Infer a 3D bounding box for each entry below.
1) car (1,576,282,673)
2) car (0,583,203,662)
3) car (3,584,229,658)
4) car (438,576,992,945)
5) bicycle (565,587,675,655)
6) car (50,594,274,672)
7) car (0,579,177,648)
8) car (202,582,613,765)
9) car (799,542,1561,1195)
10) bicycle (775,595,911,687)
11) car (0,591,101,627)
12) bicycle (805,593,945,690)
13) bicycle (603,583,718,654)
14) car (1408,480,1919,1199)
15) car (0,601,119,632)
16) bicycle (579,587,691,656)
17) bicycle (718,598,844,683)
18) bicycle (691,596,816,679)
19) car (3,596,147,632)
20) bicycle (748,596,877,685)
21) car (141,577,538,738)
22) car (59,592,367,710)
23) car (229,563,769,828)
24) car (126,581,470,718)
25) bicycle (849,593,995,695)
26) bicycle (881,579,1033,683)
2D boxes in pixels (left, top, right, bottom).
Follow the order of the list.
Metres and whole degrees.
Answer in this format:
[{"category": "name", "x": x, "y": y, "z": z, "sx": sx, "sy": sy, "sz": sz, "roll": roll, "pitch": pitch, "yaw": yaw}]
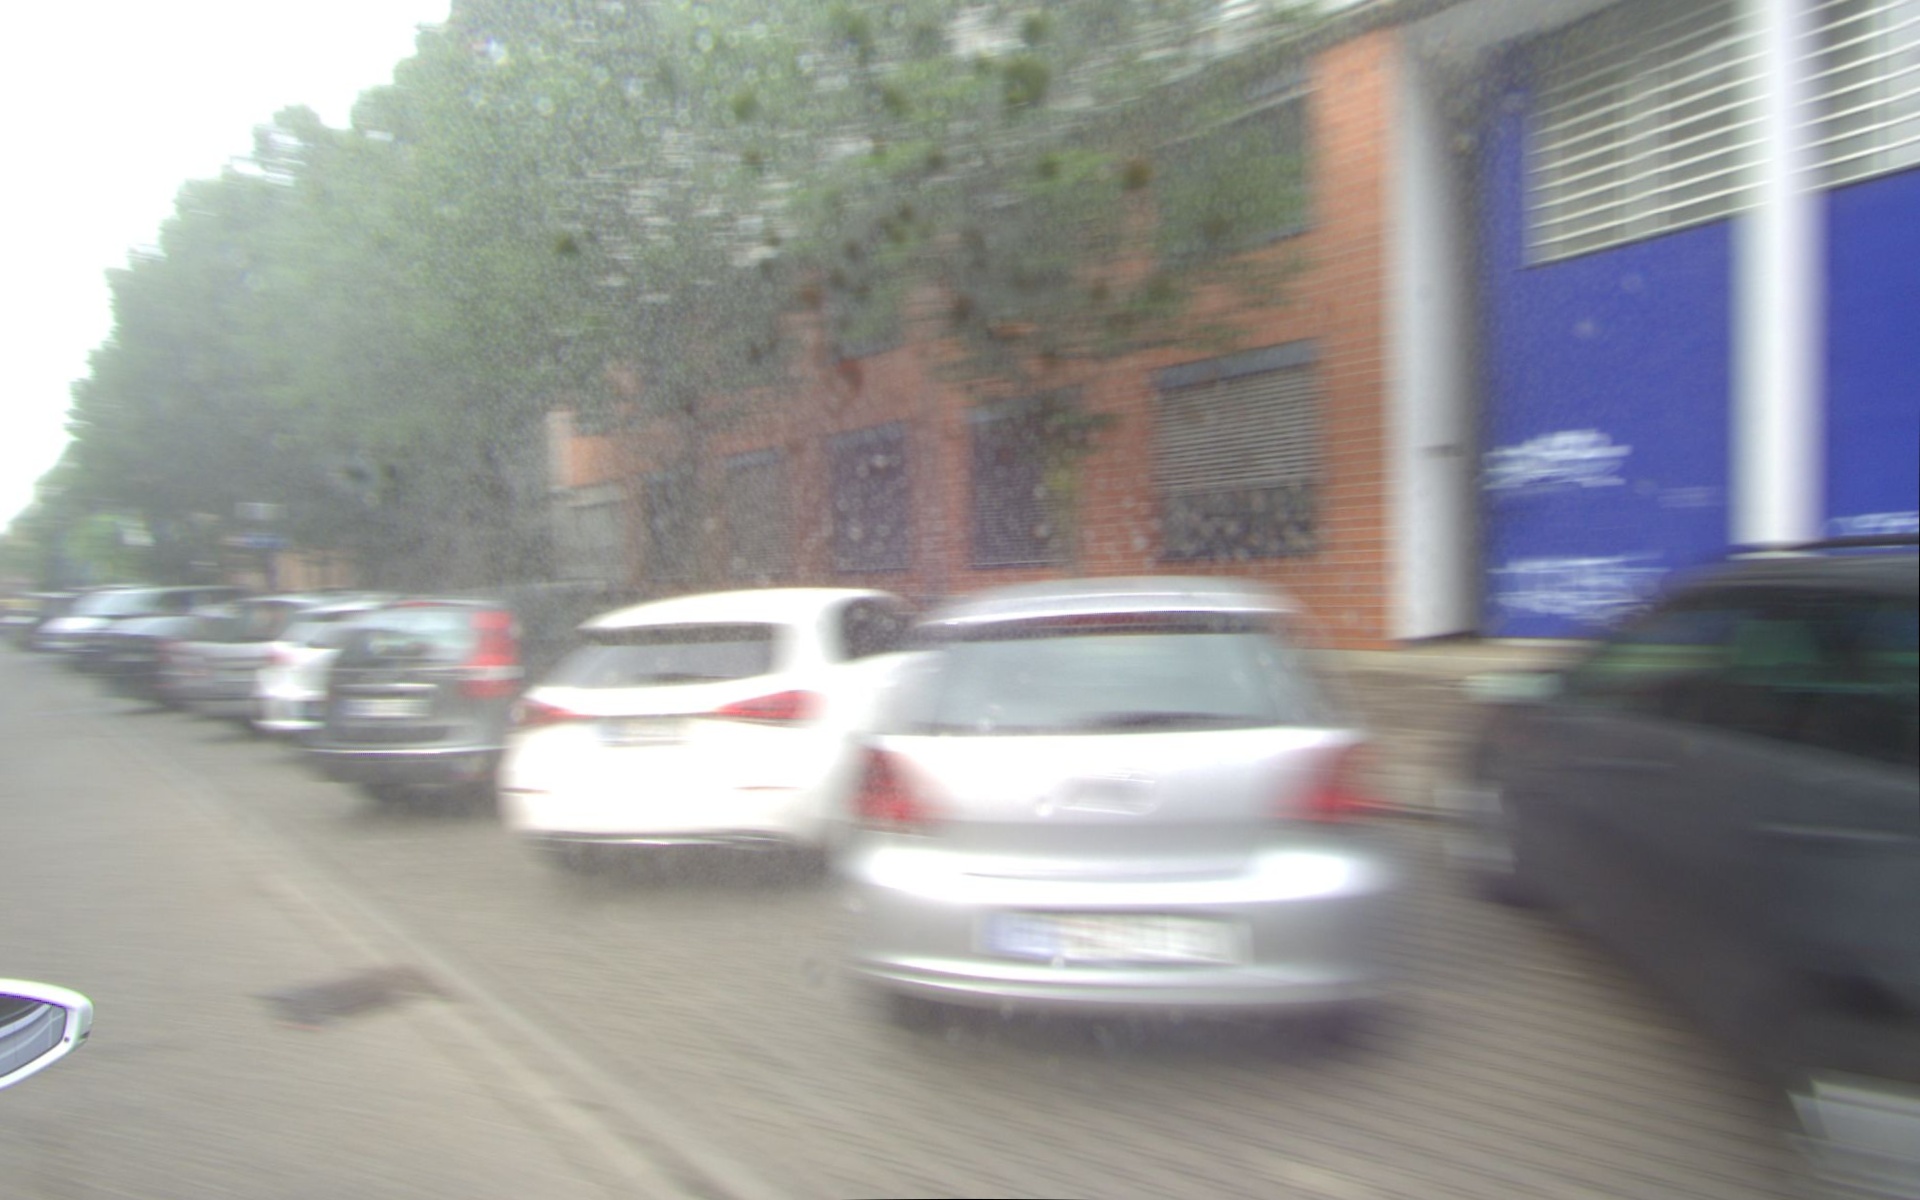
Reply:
[{"category": "car", "x": -20.823, "y": 0.510, "z": 25.921, "sx": 1.914, "sy": 2.156, "sz": 5.619, "roll": -2, "pitch": 1, "yaw": 10}, {"category": "car", "x": -24.052, "y": 0.558, "z": 28.186, "sx": 1.721, "sy": 2.041, "sz": 3.988, "roll": -1, "pitch": 1, "yaw": 23}, {"category": "car", "x": -26.378, "y": 0.568, "z": 31.632, "sx": 1.914, "sy": 2.019, "sz": 5.398, "roll": -2, "pitch": 1, "yaw": 10}, {"category": "car", "x": -1.087, "y": 0.703, "z": 6.396, "sx": 1.840, "sy": 1.564, "sz": 3.983, "roll": 0, "pitch": 0, "yaw": 13}, {"category": "bicycle", "x": -5.927, "y": 0.353, "z": 17.543, "sx": 0.559, "sy": 1.106, "sz": 1.742, "roll": -1, "pitch": 0, "yaw": 44}, {"category": "car", "x": -18.555, "y": 0.711, "z": 23.523, "sx": 1.738, "sy": 1.526, "sz": 3.859, "roll": -2, "pitch": 1, "yaw": 10}, {"category": "car", "x": -34.403, "y": 0.454, "z": 39.327, "sx": 1.918, "sy": 2.406, "sz": 5.385, "roll": -1, "pitch": 2, "yaw": 23}, {"category": "car", "x": -5.502, "y": 0.611, "z": 10.678, "sx": 1.650, "sy": 1.506, "sz": 4.056, "roll": -2, "pitch": 1, "yaw": 8}, {"category": "car", "x": 0.764, "y": 0.614, "z": 4.213, "sx": 1.810, "sy": 1.519, "sz": 3.564, "roll": -1, "pitch": 1, "yaw": 9}, {"category": "bicycle", "x": -1.510, "y": 0.507, "z": 13.188, "sx": 0.559, "sy": 1.106, "sz": 1.825, "roll": -1, "pitch": 0, "yaw": 44}, {"category": "car", "x": -54.312, "y": 0.499, "z": 59.000, "sx": 1.915, "sy": 1.893, "sz": 5.395, "roll": -2, "pitch": 2, "yaw": 15}, {"category": "bicycle", "x": -1.031, "y": 0.490, "z": 12.550, "sx": 0.537, "sy": 1.106, "sz": 1.825, "roll": -1, "pitch": 0, "yaw": 44}, {"category": "bicycle", "x": -4.933, "y": 0.286, "z": 16.587, "sx": 0.559, "sy": 1.106, "sz": 1.742, "roll": -1, "pitch": 0, "yaw": 44}, {"category": "car", "x": 2.714, "y": 0.507, "z": 2.674, "sx": 1.828, "sy": 1.600, "sz": 4.281, "roll": -2, "pitch": 3, "yaw": 11}, {"category": "car", "x": -50.499, "y": 0.893, "z": 55.816, "sx": 1.915, "sy": 1.574, "sz": 5.396, "roll": -1, "pitch": 1, "yaw": 15}, {"category": "bicycle", "x": -5.531, "y": 0.348, "z": 17.100, "sx": 0.559, "sy": 1.106, "sz": 1.742, "roll": -1, "pitch": 0, "yaw": 44}, {"category": "bicycle", "x": -2.504, "y": 0.541, "z": 14.172, "sx": 0.559, "sy": 1.106, "sz": 1.742, "roll": -1, "pitch": 0, "yaw": 44}, {"category": "bicycle", "x": -2.969, "y": 0.523, "z": 14.552, "sx": 0.559, "sy": 1.106, "sz": 1.742, "roll": -1, "pitch": 0, "yaw": 43}, {"category": "car", "x": -45.802, "y": 0.678, "z": 52.013, "sx": 1.915, "sy": 1.574, "sz": 5.395, "roll": -2, "pitch": 1, "yaw": 15}, {"category": "bicycle", "x": -1.976, "y": 0.523, "z": 13.602, "sx": 0.559, "sy": 1.106, "sz": 1.742, "roll": -1, "pitch": 0, "yaw": 44}, {"category": "car", "x": -7.331, "y": 0.574, "z": 12.404, "sx": 1.738, "sy": 1.606, "sz": 4.054, "roll": -2, "pitch": 2, "yaw": 14}, {"category": "car", "x": -11.550, "y": 0.698, "z": 15.873, "sx": 1.737, "sy": 1.526, "sz": 3.861, "roll": -2, "pitch": 1, "yaw": 4}, {"category": "car", "x": -3.311, "y": 0.548, "z": 8.231, "sx": 1.868, "sy": 1.606, "sz": 4.054, "roll": -2, "pitch": 2, "yaw": 13}, {"category": "car", "x": -9.210, "y": 0.592, "z": 14.417, "sx": 1.738, "sy": 1.606, "sz": 4.055, "roll": -2, "pitch": 1, "yaw": 11}, {"category": "bicycle", "x": -0.422, "y": 0.497, "z": 12.028, "sx": 0.537, "sy": 1.106, "sz": 1.884, "roll": -1, "pitch": 0, "yaw": 44}, {"category": "bicycle", "x": 0.003, "y": 0.330, "z": 11.608, "sx": 0.571, "sy": 1.106, "sz": 1.921, "roll": -1, "pitch": 0, "yaw": 44}]
